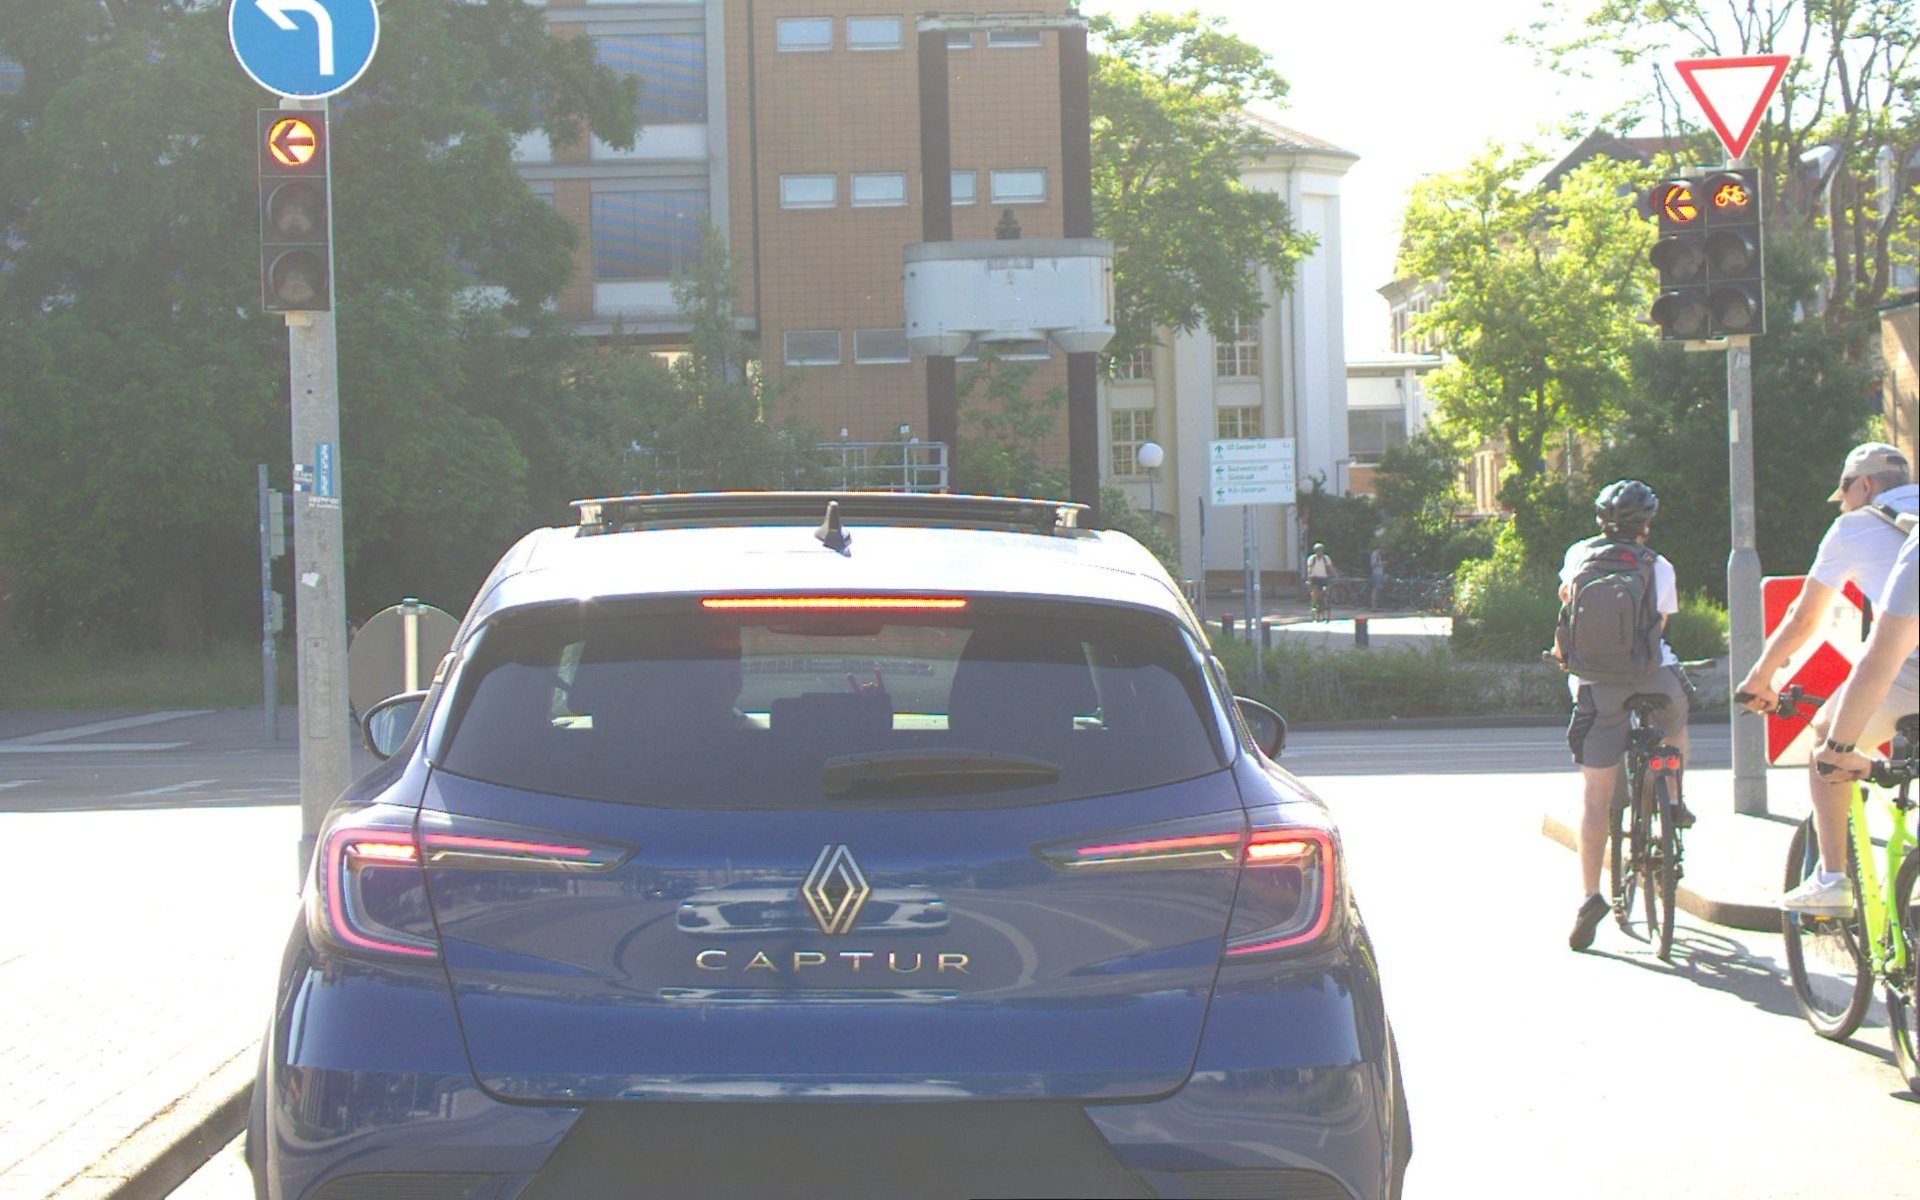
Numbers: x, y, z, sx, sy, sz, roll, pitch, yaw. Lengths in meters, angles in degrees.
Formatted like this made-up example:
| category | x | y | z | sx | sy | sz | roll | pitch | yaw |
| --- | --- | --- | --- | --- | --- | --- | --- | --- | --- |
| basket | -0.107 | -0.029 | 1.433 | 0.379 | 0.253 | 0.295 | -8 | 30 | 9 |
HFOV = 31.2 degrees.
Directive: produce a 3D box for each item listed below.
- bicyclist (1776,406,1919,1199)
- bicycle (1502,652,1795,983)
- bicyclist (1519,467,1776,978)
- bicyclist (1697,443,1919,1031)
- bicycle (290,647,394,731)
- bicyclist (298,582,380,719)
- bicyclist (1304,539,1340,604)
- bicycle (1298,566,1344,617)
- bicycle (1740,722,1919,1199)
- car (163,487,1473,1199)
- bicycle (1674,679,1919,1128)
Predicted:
| category | x | y | z | sx | sy | sz | roll | pitch | yaw |
| --- | --- | --- | --- | --- | --- | --- | --- | --- | --- |
| bicyclist | 2.228 | 0.502 | 7.352 | 0.683 | 1.785 | 1.142 | 0 | 1 | -1 |
| bicycle | 2.526 | 0.765 | 12.819 | 0.689 | 1.085 | 1.922 | 0 | 1 | -1 |
| bicyclist | 2.493 | 0.421 | 12.582 | 0.699 | 1.785 | 1.142 | 0 | 1 | -1 |
| bicyclist | 2.582 | 0.362 | 9.859 | 0.678 | 1.589 | 1.142 | 0 | 1 | -1 |
| bicycle | -7.885 | 1.124 | 43.915 | 0.755 | 0.981 | 2.093 | -1 | 1 | 5 |
| bicyclist | -7.906 | 0.637 | 43.805 | 0.755 | 1.710 | 0.998 | -1 | 1 | 5 |
| bicyclist | 8.249 | -0.653 | 78.306 | 0.694 | 1.476 | 0.717 | -1 | 1 | -2 |
| bicycle | 8.246 | -0.199 | 78.511 | 0.694 | 1.136 | 2.441 | -1 | 1 | -2 |
| bicycle | 2.234 | 0.848 | 7.325 | 0.689 | 1.085 | 1.922 | 0 | 1 | -1 |
| car | -0.271 | 0.613 | 6.658 | 1.788 | 1.580 | 3.915 | 0 | 1 | -2 |
| bicycle | 2.591 | 0.803 | 9.809 | 0.689 | 1.085 | 1.922 | 0 | 1 | -1 |
